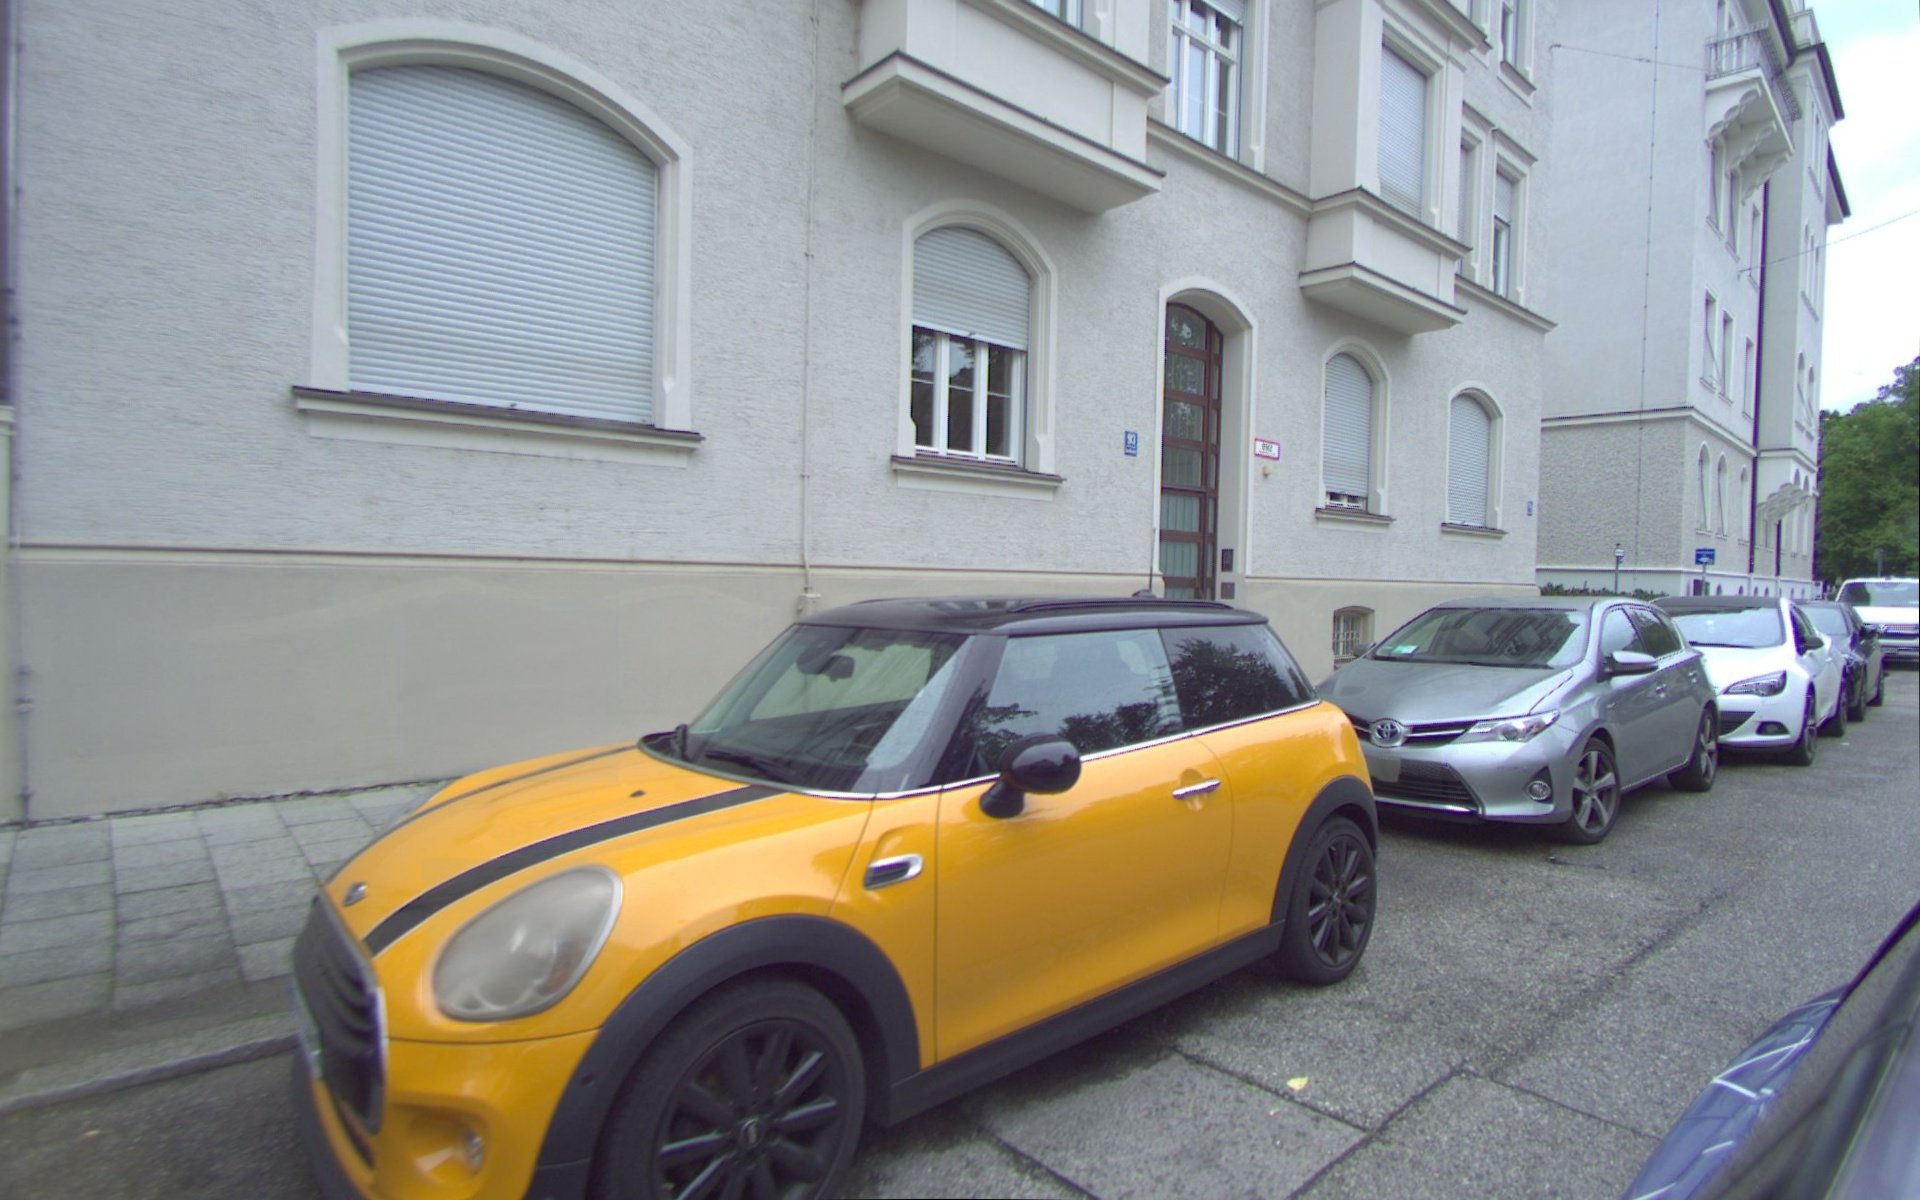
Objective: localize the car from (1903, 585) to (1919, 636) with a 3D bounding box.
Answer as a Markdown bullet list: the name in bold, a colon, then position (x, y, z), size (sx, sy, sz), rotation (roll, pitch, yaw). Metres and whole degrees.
- **car**: position (33.192, 0.355, 34.116), size (4.017, 1.669, 1.791), rotation (0, 1, -44)

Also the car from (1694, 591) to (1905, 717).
- **car**: position (11.294, 0.605, 13.525), size (4.017, 1.407, 1.712), rotation (0, 1, -44)

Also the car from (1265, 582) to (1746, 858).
- **car**: position (4.012, 0.613, 7.169), size (3.930, 1.407, 1.714), rotation (0, 1, -41)

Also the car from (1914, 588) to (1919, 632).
- **car**: position (37.942, 0.386, 38.771), size (4.017, 1.669, 1.791), rotation (0, 1, -44)

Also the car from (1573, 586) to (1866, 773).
- **car**: position (7.730, 0.633, 10.156), size (4.017, 1.489, 1.712), rotation (0, 1, -44)

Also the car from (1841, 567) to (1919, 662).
- **car**: position (20.898, 0.294, 22.361), size (4.017, 1.962, 1.791), rotation (0, 1, -44)

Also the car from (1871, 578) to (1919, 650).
- **car**: position (25.671, 0.345, 26.965), size (4.018, 1.809, 1.791), rotation (0, 1, -44)

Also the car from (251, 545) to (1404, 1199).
- **car**: position (-0.173, 0.615, 3.439), size (3.533, 1.457, 1.660), rotation (0, 2, -40)
